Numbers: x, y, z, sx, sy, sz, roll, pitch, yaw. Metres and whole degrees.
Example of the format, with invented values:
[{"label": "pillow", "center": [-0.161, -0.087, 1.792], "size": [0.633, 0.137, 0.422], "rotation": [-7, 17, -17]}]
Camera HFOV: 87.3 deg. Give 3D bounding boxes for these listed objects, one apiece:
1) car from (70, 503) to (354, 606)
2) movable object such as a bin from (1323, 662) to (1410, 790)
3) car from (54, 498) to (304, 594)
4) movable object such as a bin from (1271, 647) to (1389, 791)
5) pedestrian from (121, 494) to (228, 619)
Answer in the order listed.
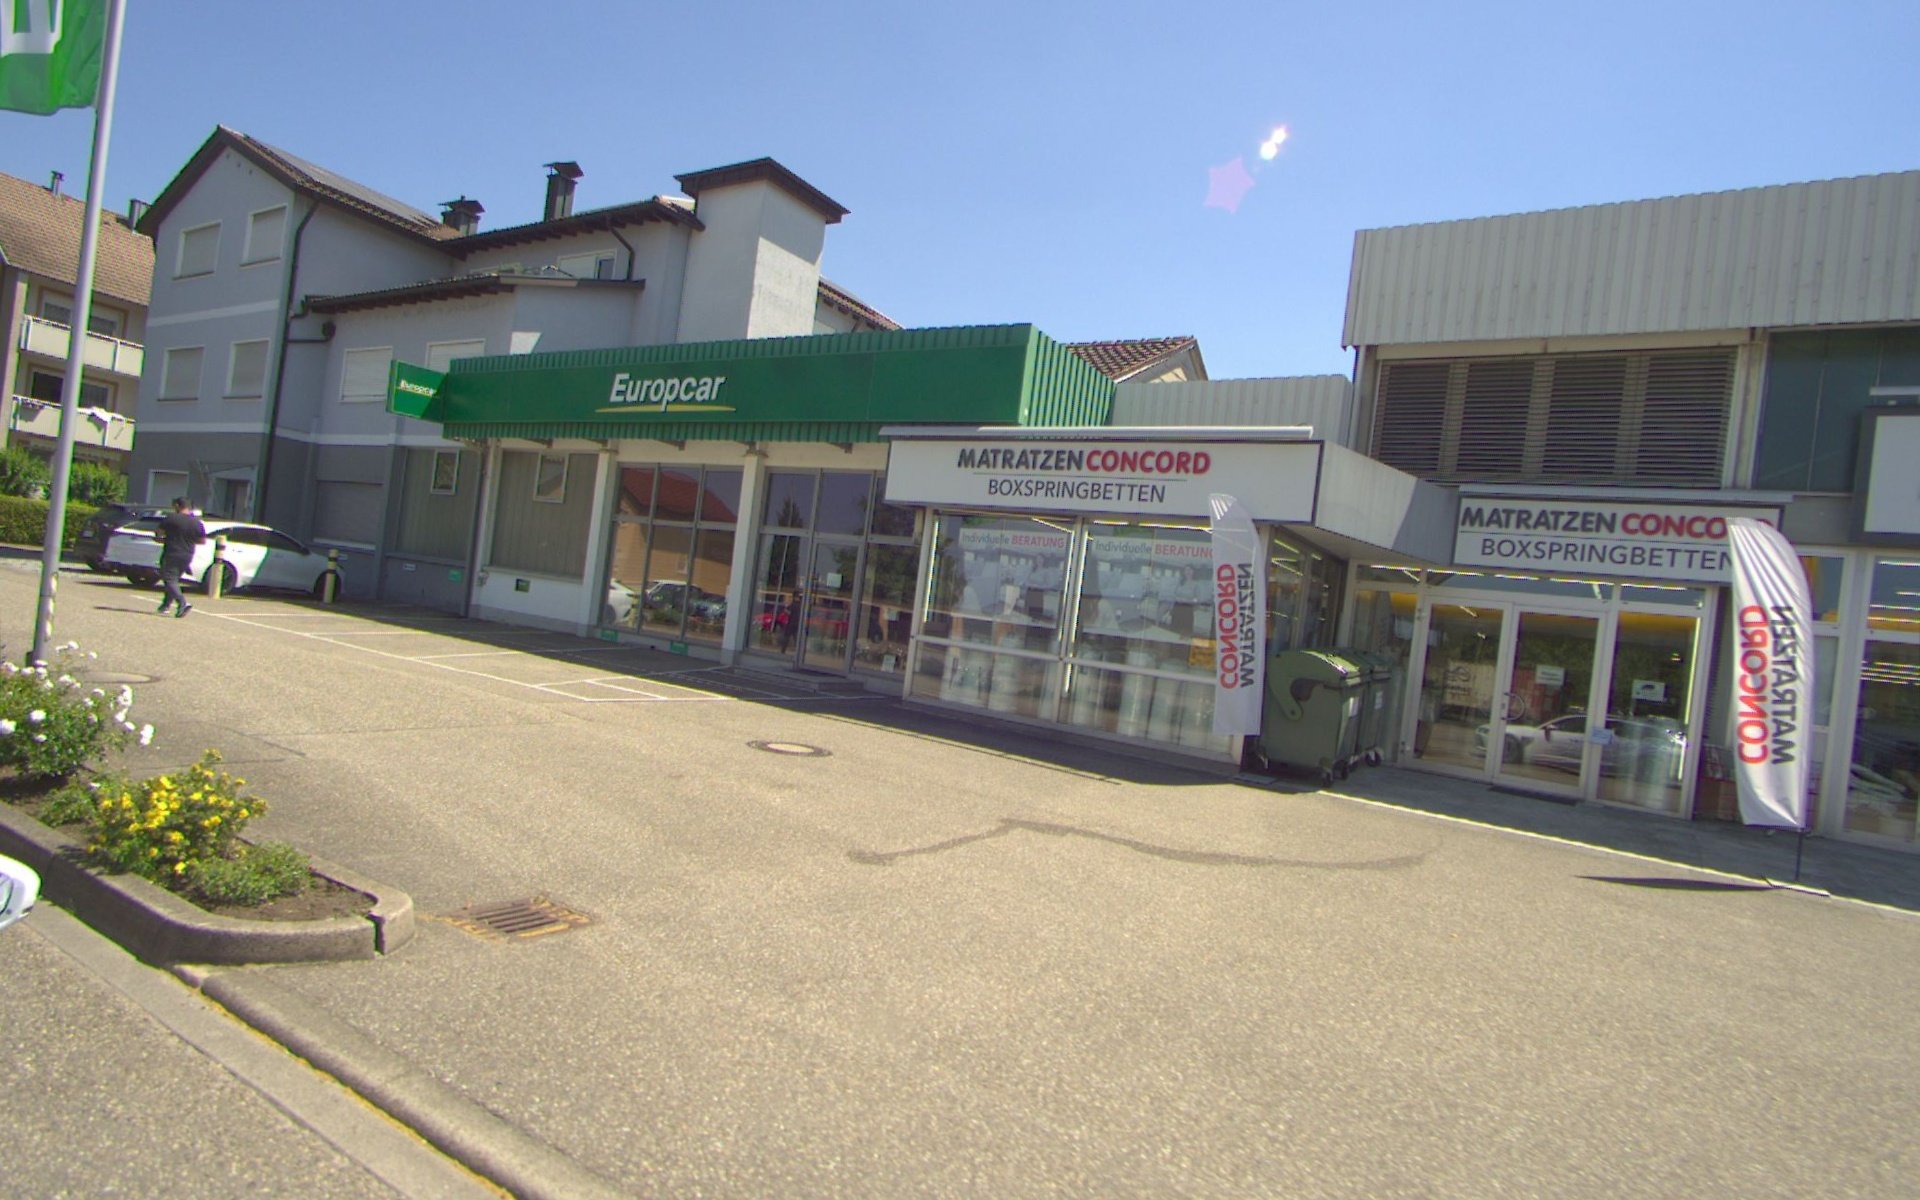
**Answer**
[{"label": "car", "center": [-14.604, -0.797, 20.018], "size": [1.918, 1.386, 4.364], "rotation": [7, -3, 8]}, {"label": "movable object such as a bin", "center": [5.096, 1.549, 12.584], "size": [0.691, 1.463, 0.852], "rotation": [6, 1, 37]}, {"label": "car", "center": [-17.382, -1.145, 22.595], "size": [1.767, 1.569, 3.994], "rotation": [6, -1, 30]}, {"label": "movable object such as a bin", "center": [4.208, 1.310, 11.371], "size": [0.691, 1.441, 1.562], "rotation": [6, 1, 37]}, {"label": "pedestrian", "center": [-11.262, -0.624, 14.431], "size": [0.994, 1.661, 0.840], "rotation": [6, 0, 35]}]
